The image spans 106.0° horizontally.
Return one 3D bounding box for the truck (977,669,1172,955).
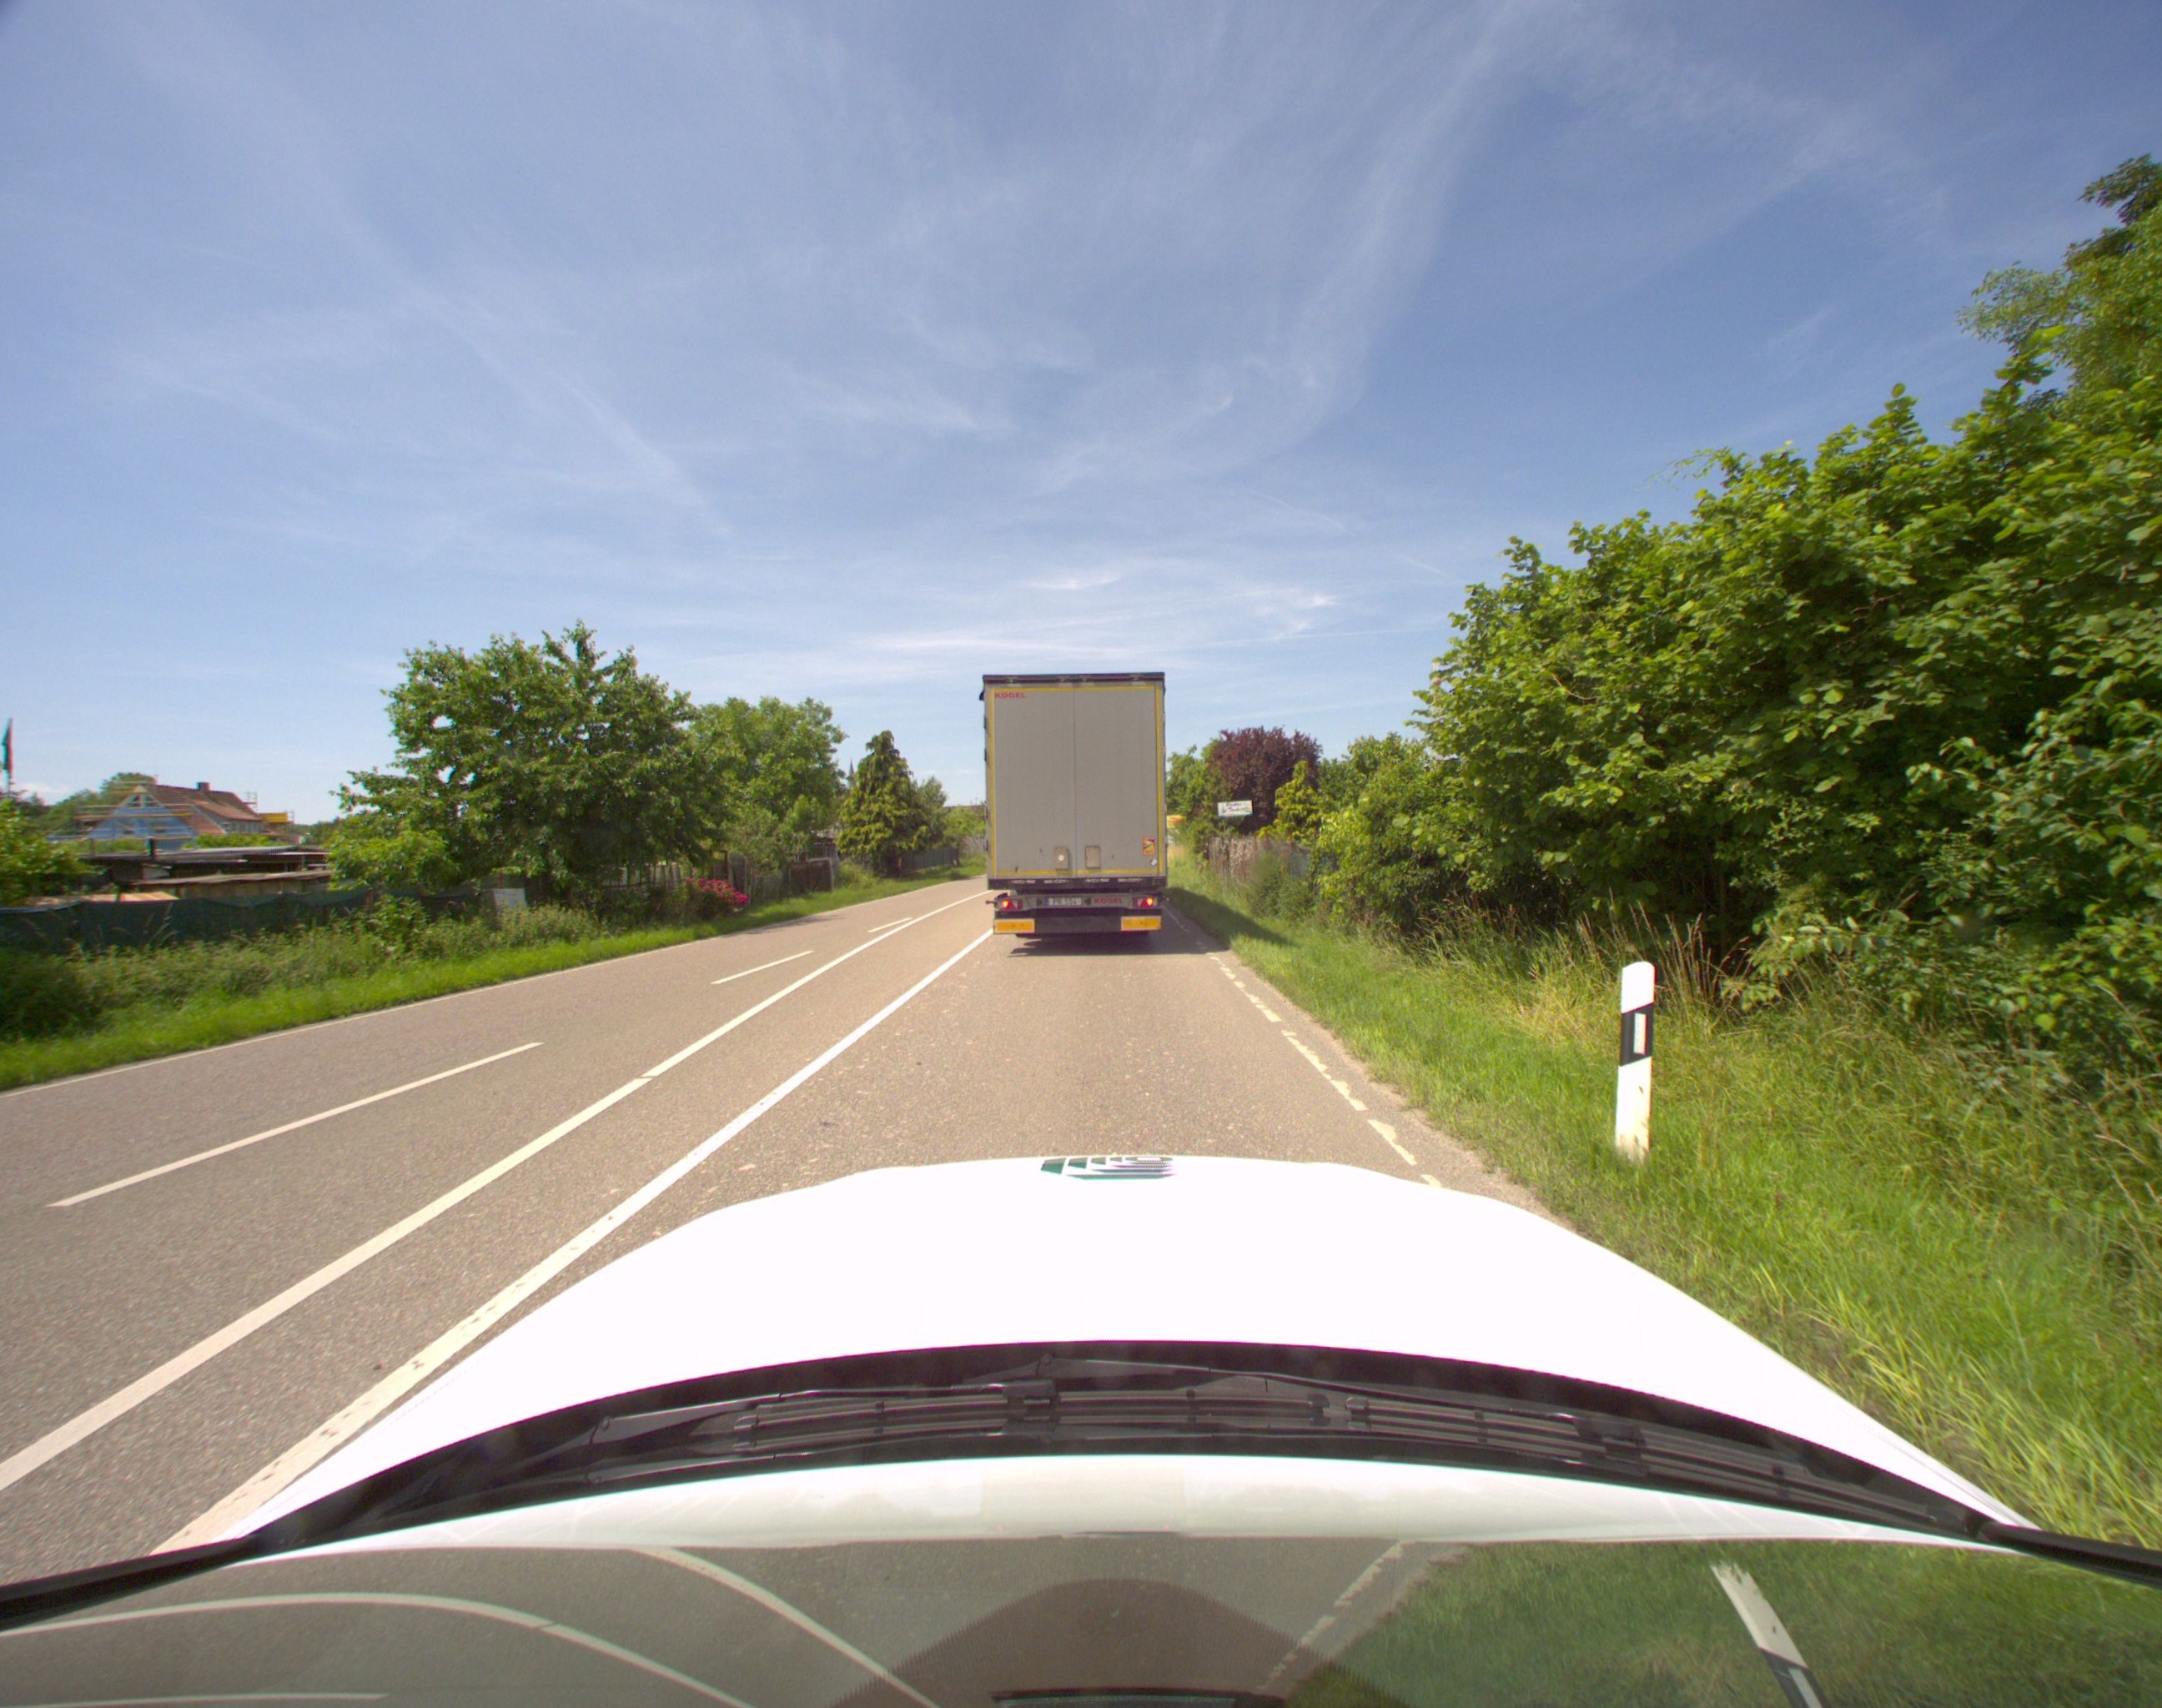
[{"bbox_3d":[-0.087,-0.624,15.696,2.639,3.916,8.824,-1,0,0],"label":"truck"}]
